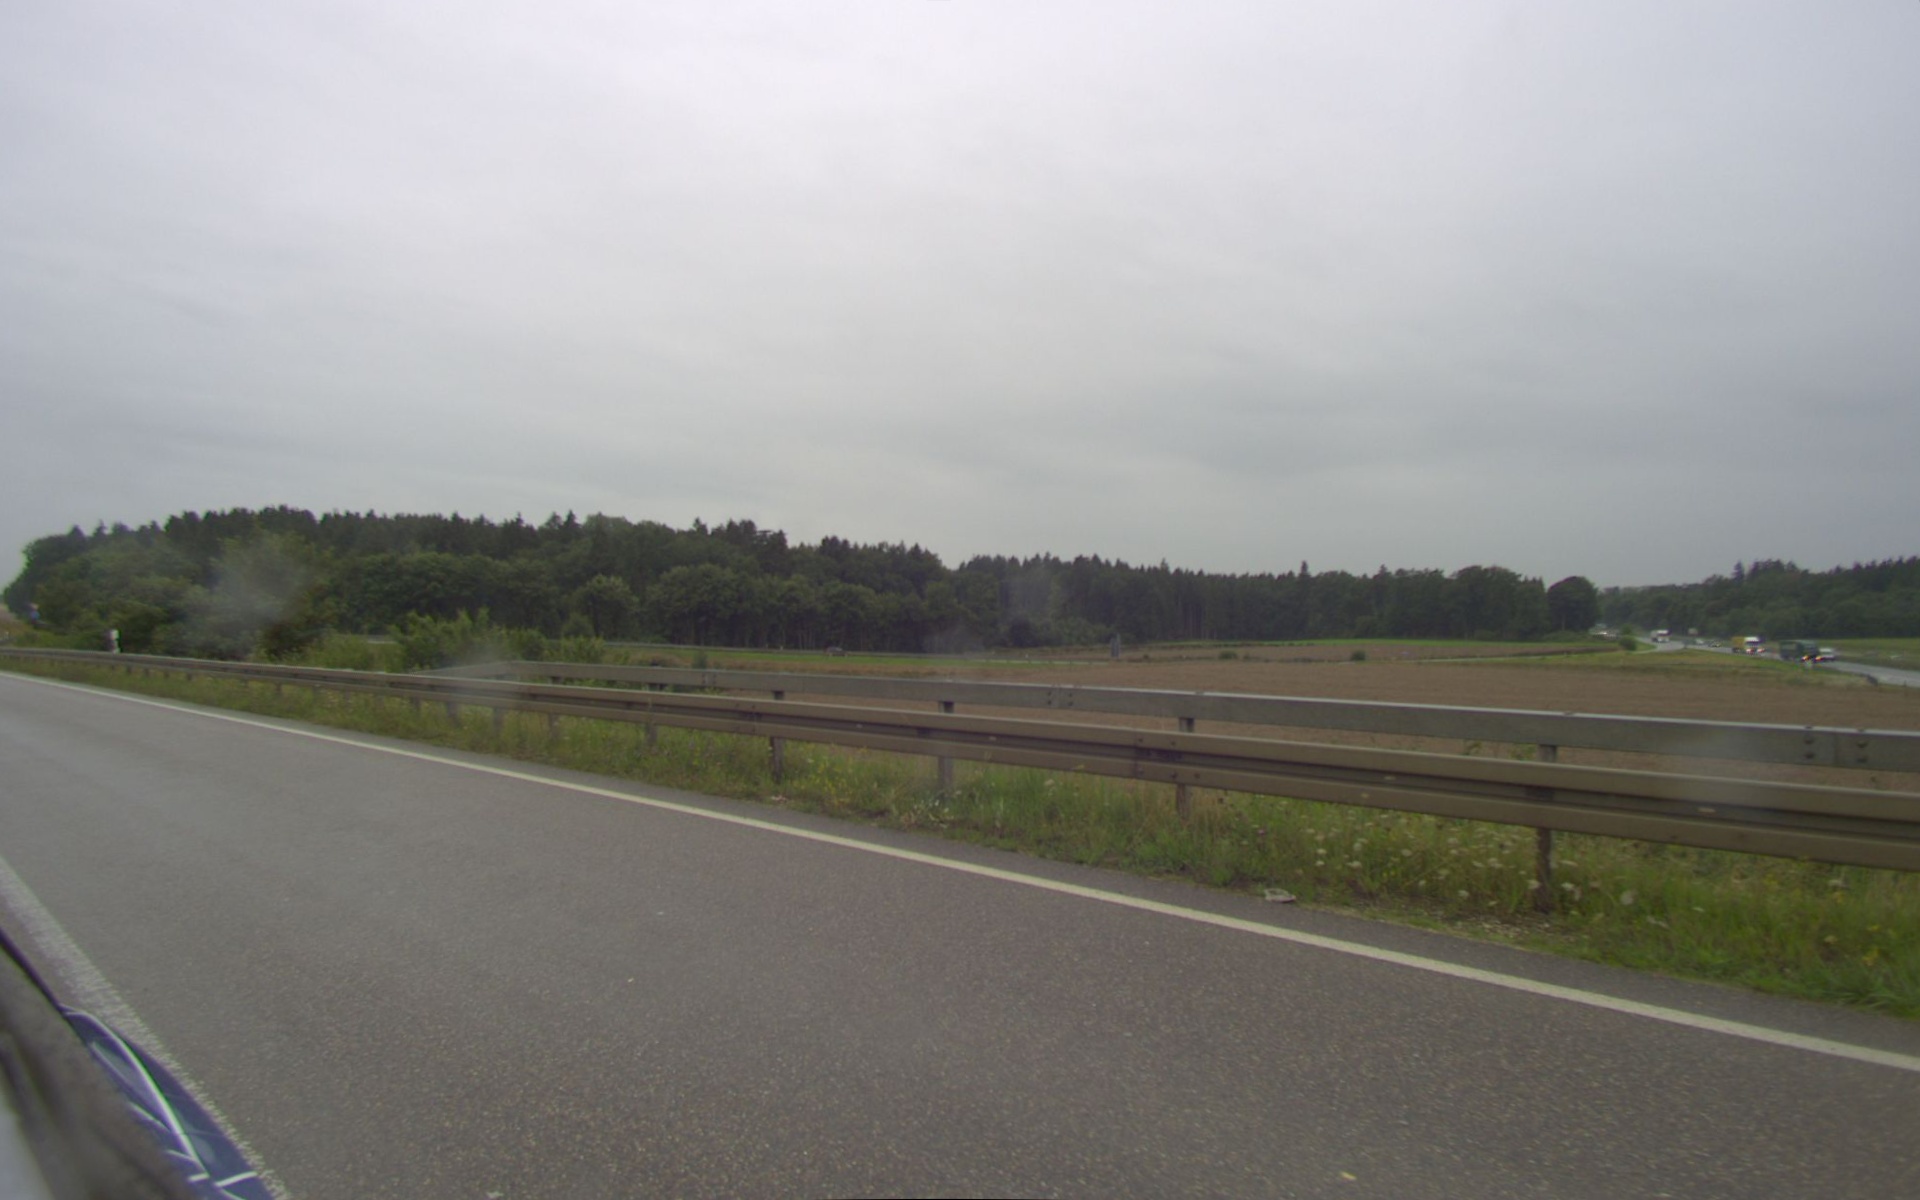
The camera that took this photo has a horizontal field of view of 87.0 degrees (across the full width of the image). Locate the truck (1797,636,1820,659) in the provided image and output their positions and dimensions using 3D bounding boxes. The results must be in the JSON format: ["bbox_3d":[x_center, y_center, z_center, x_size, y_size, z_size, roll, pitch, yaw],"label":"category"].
[{"bbox_3d":[165.534,9.198,197.471,2.234,3.727,9.742,-2,1,33],"label":"truck"}]
